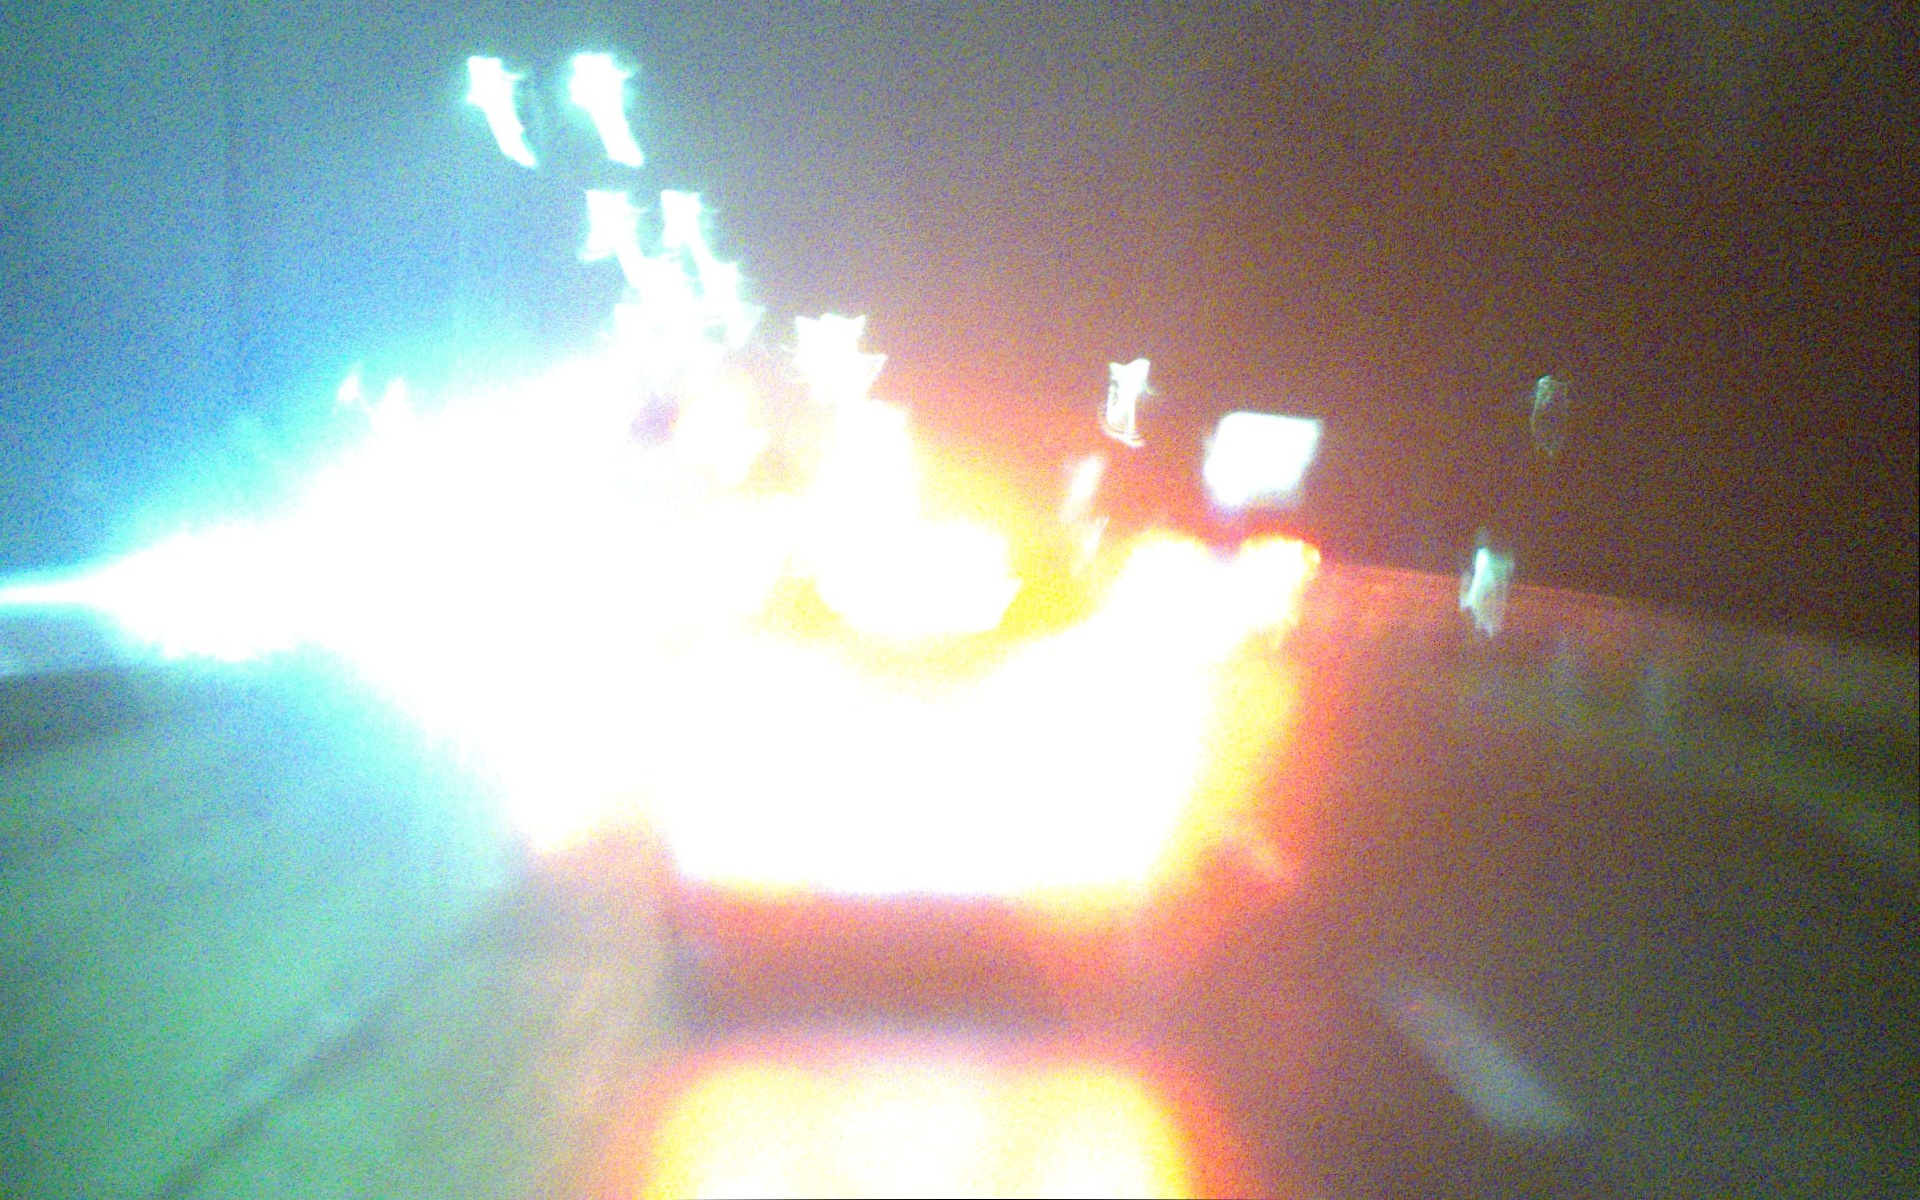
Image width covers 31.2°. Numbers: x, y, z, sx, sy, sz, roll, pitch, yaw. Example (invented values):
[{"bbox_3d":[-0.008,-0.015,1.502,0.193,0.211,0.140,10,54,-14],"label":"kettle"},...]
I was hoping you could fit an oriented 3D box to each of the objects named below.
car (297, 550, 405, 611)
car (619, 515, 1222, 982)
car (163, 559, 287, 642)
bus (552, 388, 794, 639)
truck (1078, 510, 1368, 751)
[{"bbox_3d":[-15.984,-0.485,90.490,2.023,1.497,4.897,2,0,-1],"label":"car"},{"bbox_3d":[-0.027,0.458,12.994,1.944,1.486,3.715,1,1,3],"label":"car"},{"bbox_3d":[-14.500,0.013,68.006,1.600,1.546,3.834,2,0,0],"label":"car"},{"bbox_3d":[-3.886,-1.211,48.432,2.743,3.112,9.202,2,1,-1],"label":"bus"},{"bbox_3d":[3.160,0.351,40.921,3.070,2.520,7.165,2,0,5],"label":"truck"}]
